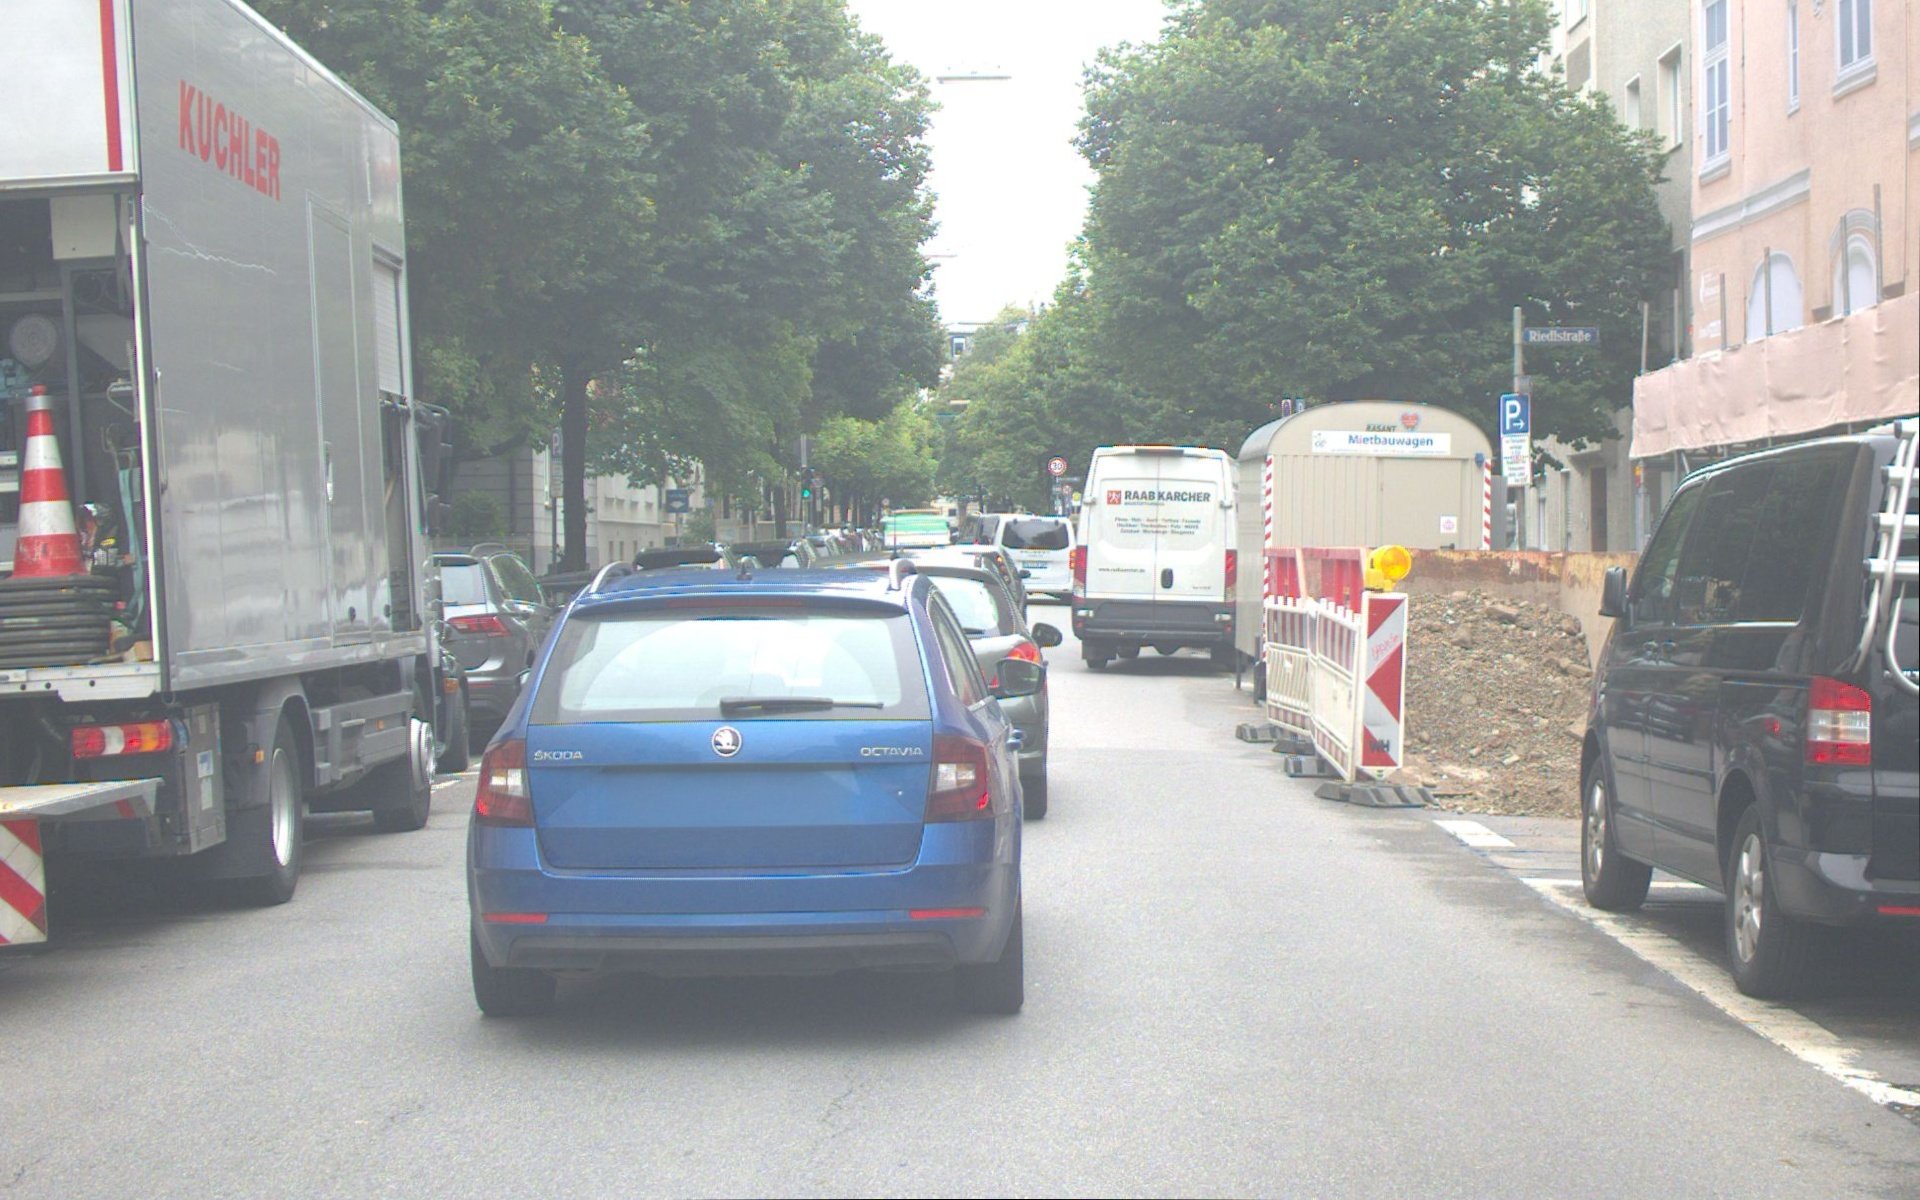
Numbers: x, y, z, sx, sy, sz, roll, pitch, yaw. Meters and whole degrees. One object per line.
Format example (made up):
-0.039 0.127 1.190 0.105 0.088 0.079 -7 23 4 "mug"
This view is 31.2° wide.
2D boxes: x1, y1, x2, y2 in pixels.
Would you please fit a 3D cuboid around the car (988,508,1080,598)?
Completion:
1.557 -1.036 73.756 1.867 1.863 4.347 1 1 0 "car"

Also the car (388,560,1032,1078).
-0.676 0.606 12.046 1.789 1.455 4.314 -1 1 2 "car"

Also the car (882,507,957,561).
-1.292 -2.066 106.791 2.007 1.647 4.348 1 1 -5 "car"

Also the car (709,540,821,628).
-3.375 -0.305 59.986 1.812 1.473 4.000 0 1 -1 "car"

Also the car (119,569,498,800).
-4.321 0.513 23.330 1.699 1.404 3.708 -1 1 3 "car"

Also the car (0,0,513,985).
-4.174 -0.592 16.451 2.812 3.804 8.723 -1 1 0 "car"

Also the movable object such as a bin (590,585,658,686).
-3.962 0.410 40.533 0.711 1.144 0.636 -3 1 -2 "movable object such as a bin"

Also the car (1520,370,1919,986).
3.553 0.314 13.261 2.082 1.914 5.140 1 -1 2 "car"

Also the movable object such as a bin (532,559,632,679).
-4.541 0.221 41.371 1.081 1.372 1.084 -3 1 -3 "movable object such as a bin"

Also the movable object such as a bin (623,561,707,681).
-3.543 0.242 41.440 0.918 1.372 1.080 -3 1 -3 "movable object such as a bin"

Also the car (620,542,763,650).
-3.803 -0.088 49.261 1.812 1.473 4.000 0 1 -1 "car"

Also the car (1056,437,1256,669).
2.502 -0.566 42.535 2.113 2.654 5.499 1 0 7 "car"

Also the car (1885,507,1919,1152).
3.302 0.641 7.011 1.693 1.671 4.407 2 1 2 "car"

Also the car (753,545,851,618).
-3.281 -0.415 72.028 1.812 1.473 4.000 0 1 1 "car"

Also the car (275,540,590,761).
-4.222 0.348 28.136 1.785 1.622 4.185 -2 1 1 "car"

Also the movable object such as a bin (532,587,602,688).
-4.630 0.441 40.488 0.721 1.134 0.659 -3 1 -2 "movable object such as a bin"

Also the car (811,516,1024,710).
-0.372 0.061 32.560 1.867 1.690 4.347 1 1 0 "car"

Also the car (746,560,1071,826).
-0.283 0.478 20.222 1.741 1.417 3.664 0 1 0 "car"

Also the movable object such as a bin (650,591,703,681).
-3.343 0.424 40.585 0.546 1.017 0.636 -3 1 -2 "movable object such as a bin"

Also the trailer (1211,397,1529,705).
4.065 -0.489 35.415 2.502 2.830 6.901 1 0 1 "trailer"

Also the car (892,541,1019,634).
-0.109 -0.228 53.960 1.867 1.343 4.348 1 1 -2 "car"

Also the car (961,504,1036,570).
0.996 -1.629 88.044 1.867 1.647 4.347 1 1 1 "car"

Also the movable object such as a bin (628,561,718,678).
-3.543 0.237 42.538 1.020 1.372 1.104 -3 1 -3 "movable object such as a bin"
